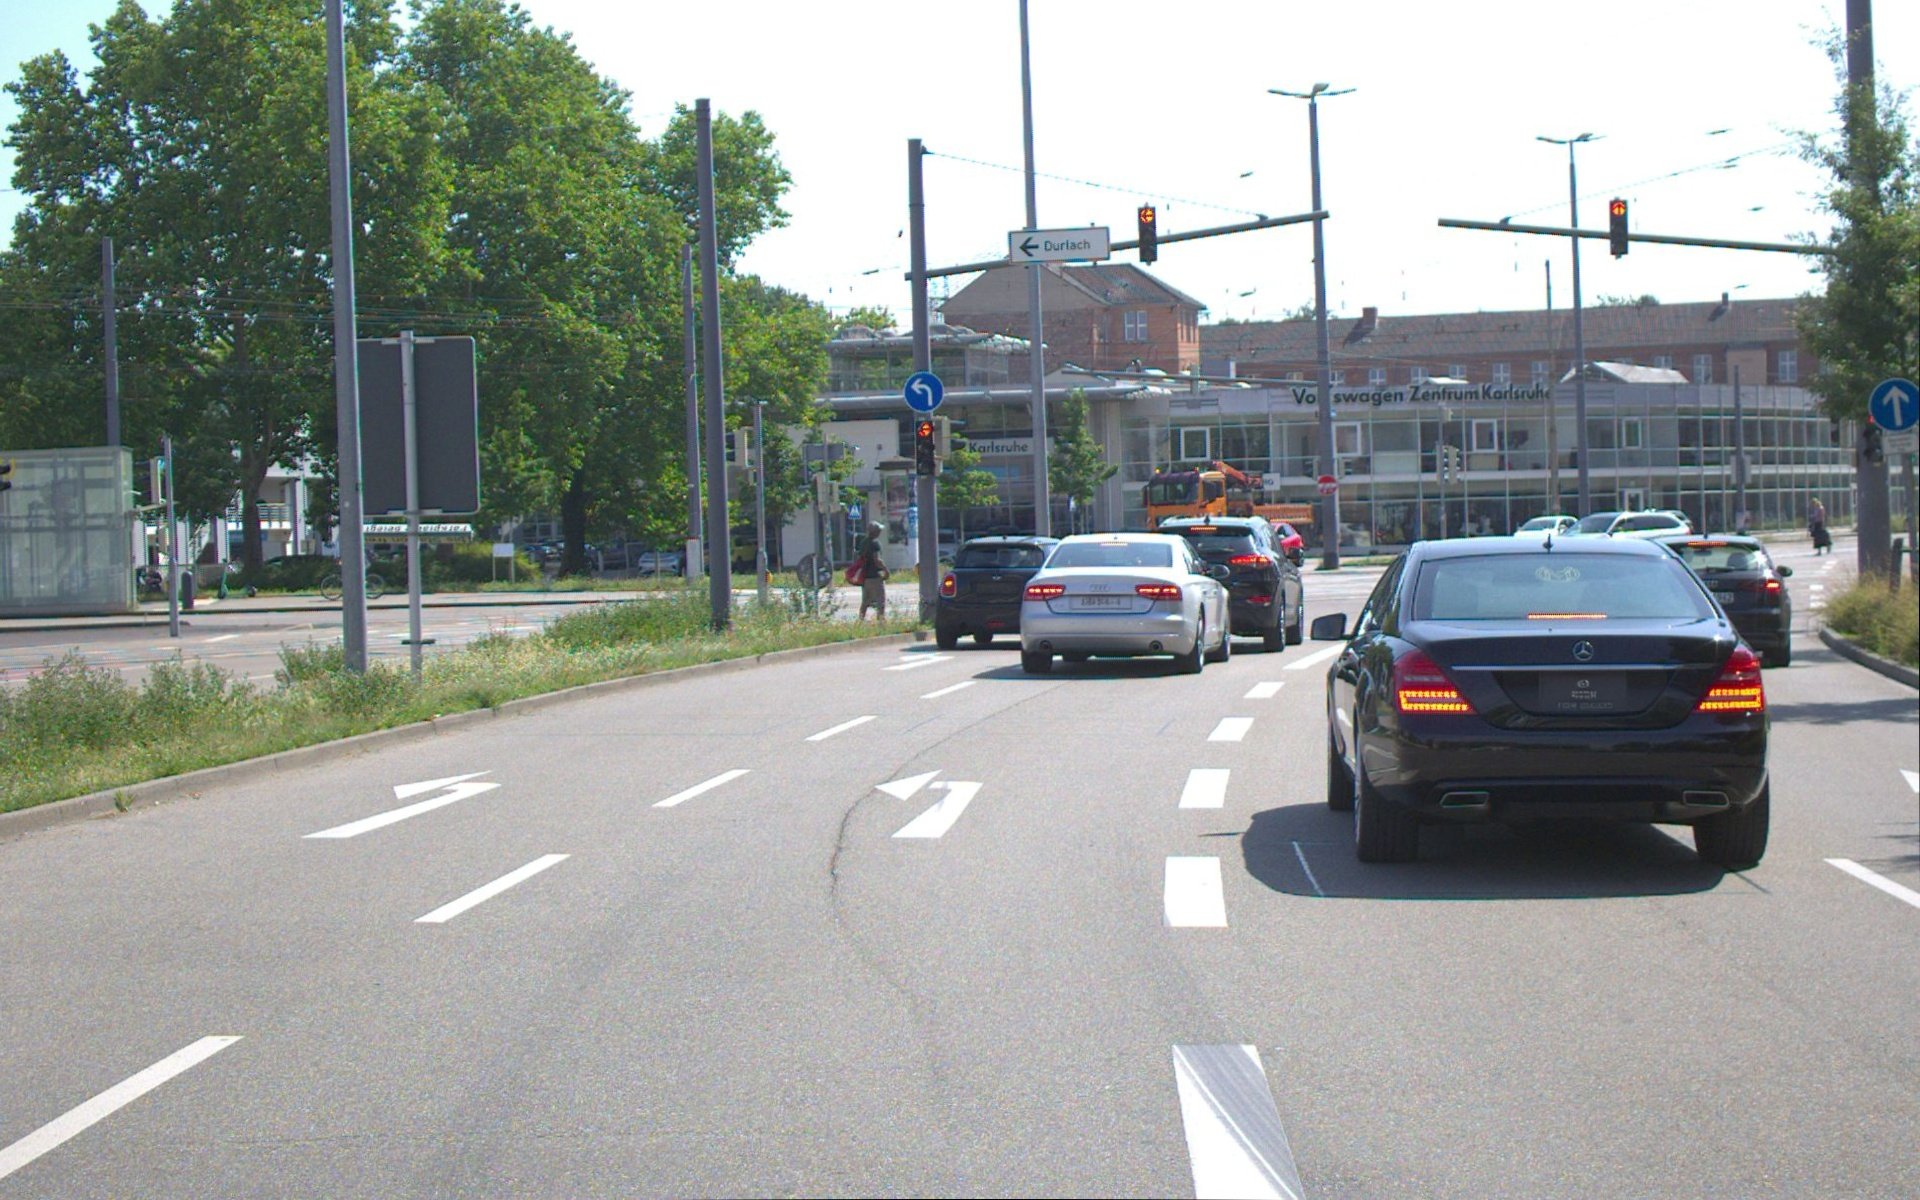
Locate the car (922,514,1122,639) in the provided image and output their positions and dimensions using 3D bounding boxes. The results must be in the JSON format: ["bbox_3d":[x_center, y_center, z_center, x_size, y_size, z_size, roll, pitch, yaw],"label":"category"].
[{"bbox_3d":[0.864,-0.338,44.897,1.795,1.505,3.998,-1,1,13],"label":"car"}]

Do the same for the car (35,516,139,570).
[{"bbox_3d":[-35.523,-2.338,140.007,3.986,2.006,2.001,-2,4,-13],"label":"car"}]

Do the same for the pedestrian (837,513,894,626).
[{"bbox_3d":[-1.403,-0.453,51.068,0.648,1.655,0.663,-1,1,16],"label":"pedestrian"}]

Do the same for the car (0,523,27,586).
[{"bbox_3d":[-32.994,-1.463,113.746,3.986,2.006,2.001,-2,4,-13],"label":"car"}]

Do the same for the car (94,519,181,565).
[{"bbox_3d":[-39.529,-2.797,165.354,3.986,2.006,2.001,-2,4,-13],"label":"car"}]

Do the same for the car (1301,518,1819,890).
[{"bbox_3d":[2.776,0.434,16.947,1.859,1.525,4.713,-2,0,2],"label":"car"}]

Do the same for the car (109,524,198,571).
[{"bbox_3d":[-37.692,-2.452,160.661,3.986,2.006,2.001,-2,4,-13],"label":"car"}]

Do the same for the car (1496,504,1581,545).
[{"bbox_3d":[22.284,-2.925,132.268,1.797,1.505,3.993,-1,1,32],"label":"car"}]

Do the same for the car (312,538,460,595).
[{"bbox_3d":[-16.221,-0.955,97.295,3.986,1.505,1.800,-1,1,-6],"label":"car"}]

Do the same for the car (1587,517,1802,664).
[{"bbox_3d":[7.948,-0.135,37.495,1.794,1.505,4.000,0,1,5],"label":"car"}]

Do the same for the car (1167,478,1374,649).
[{"bbox_3d":[3.940,-0.484,43.044,1.995,2.007,3.998,-1,1,13],"label":"car"}]

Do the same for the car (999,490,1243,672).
[{"bbox_3d":[1.793,-0.243,36.982,1.994,1.809,3.998,-1,1,12],"label":"car"}]

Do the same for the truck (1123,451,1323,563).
[{"bbox_3d":[9.161,-3.248,118.821,3.070,3.717,7.913,-1,1,36],"label":"truck"}]

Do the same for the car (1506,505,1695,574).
[{"bbox_3d":[15.117,-1.423,81.049,4.263,1.505,1.800,-2,1,-33],"label":"car"}]
